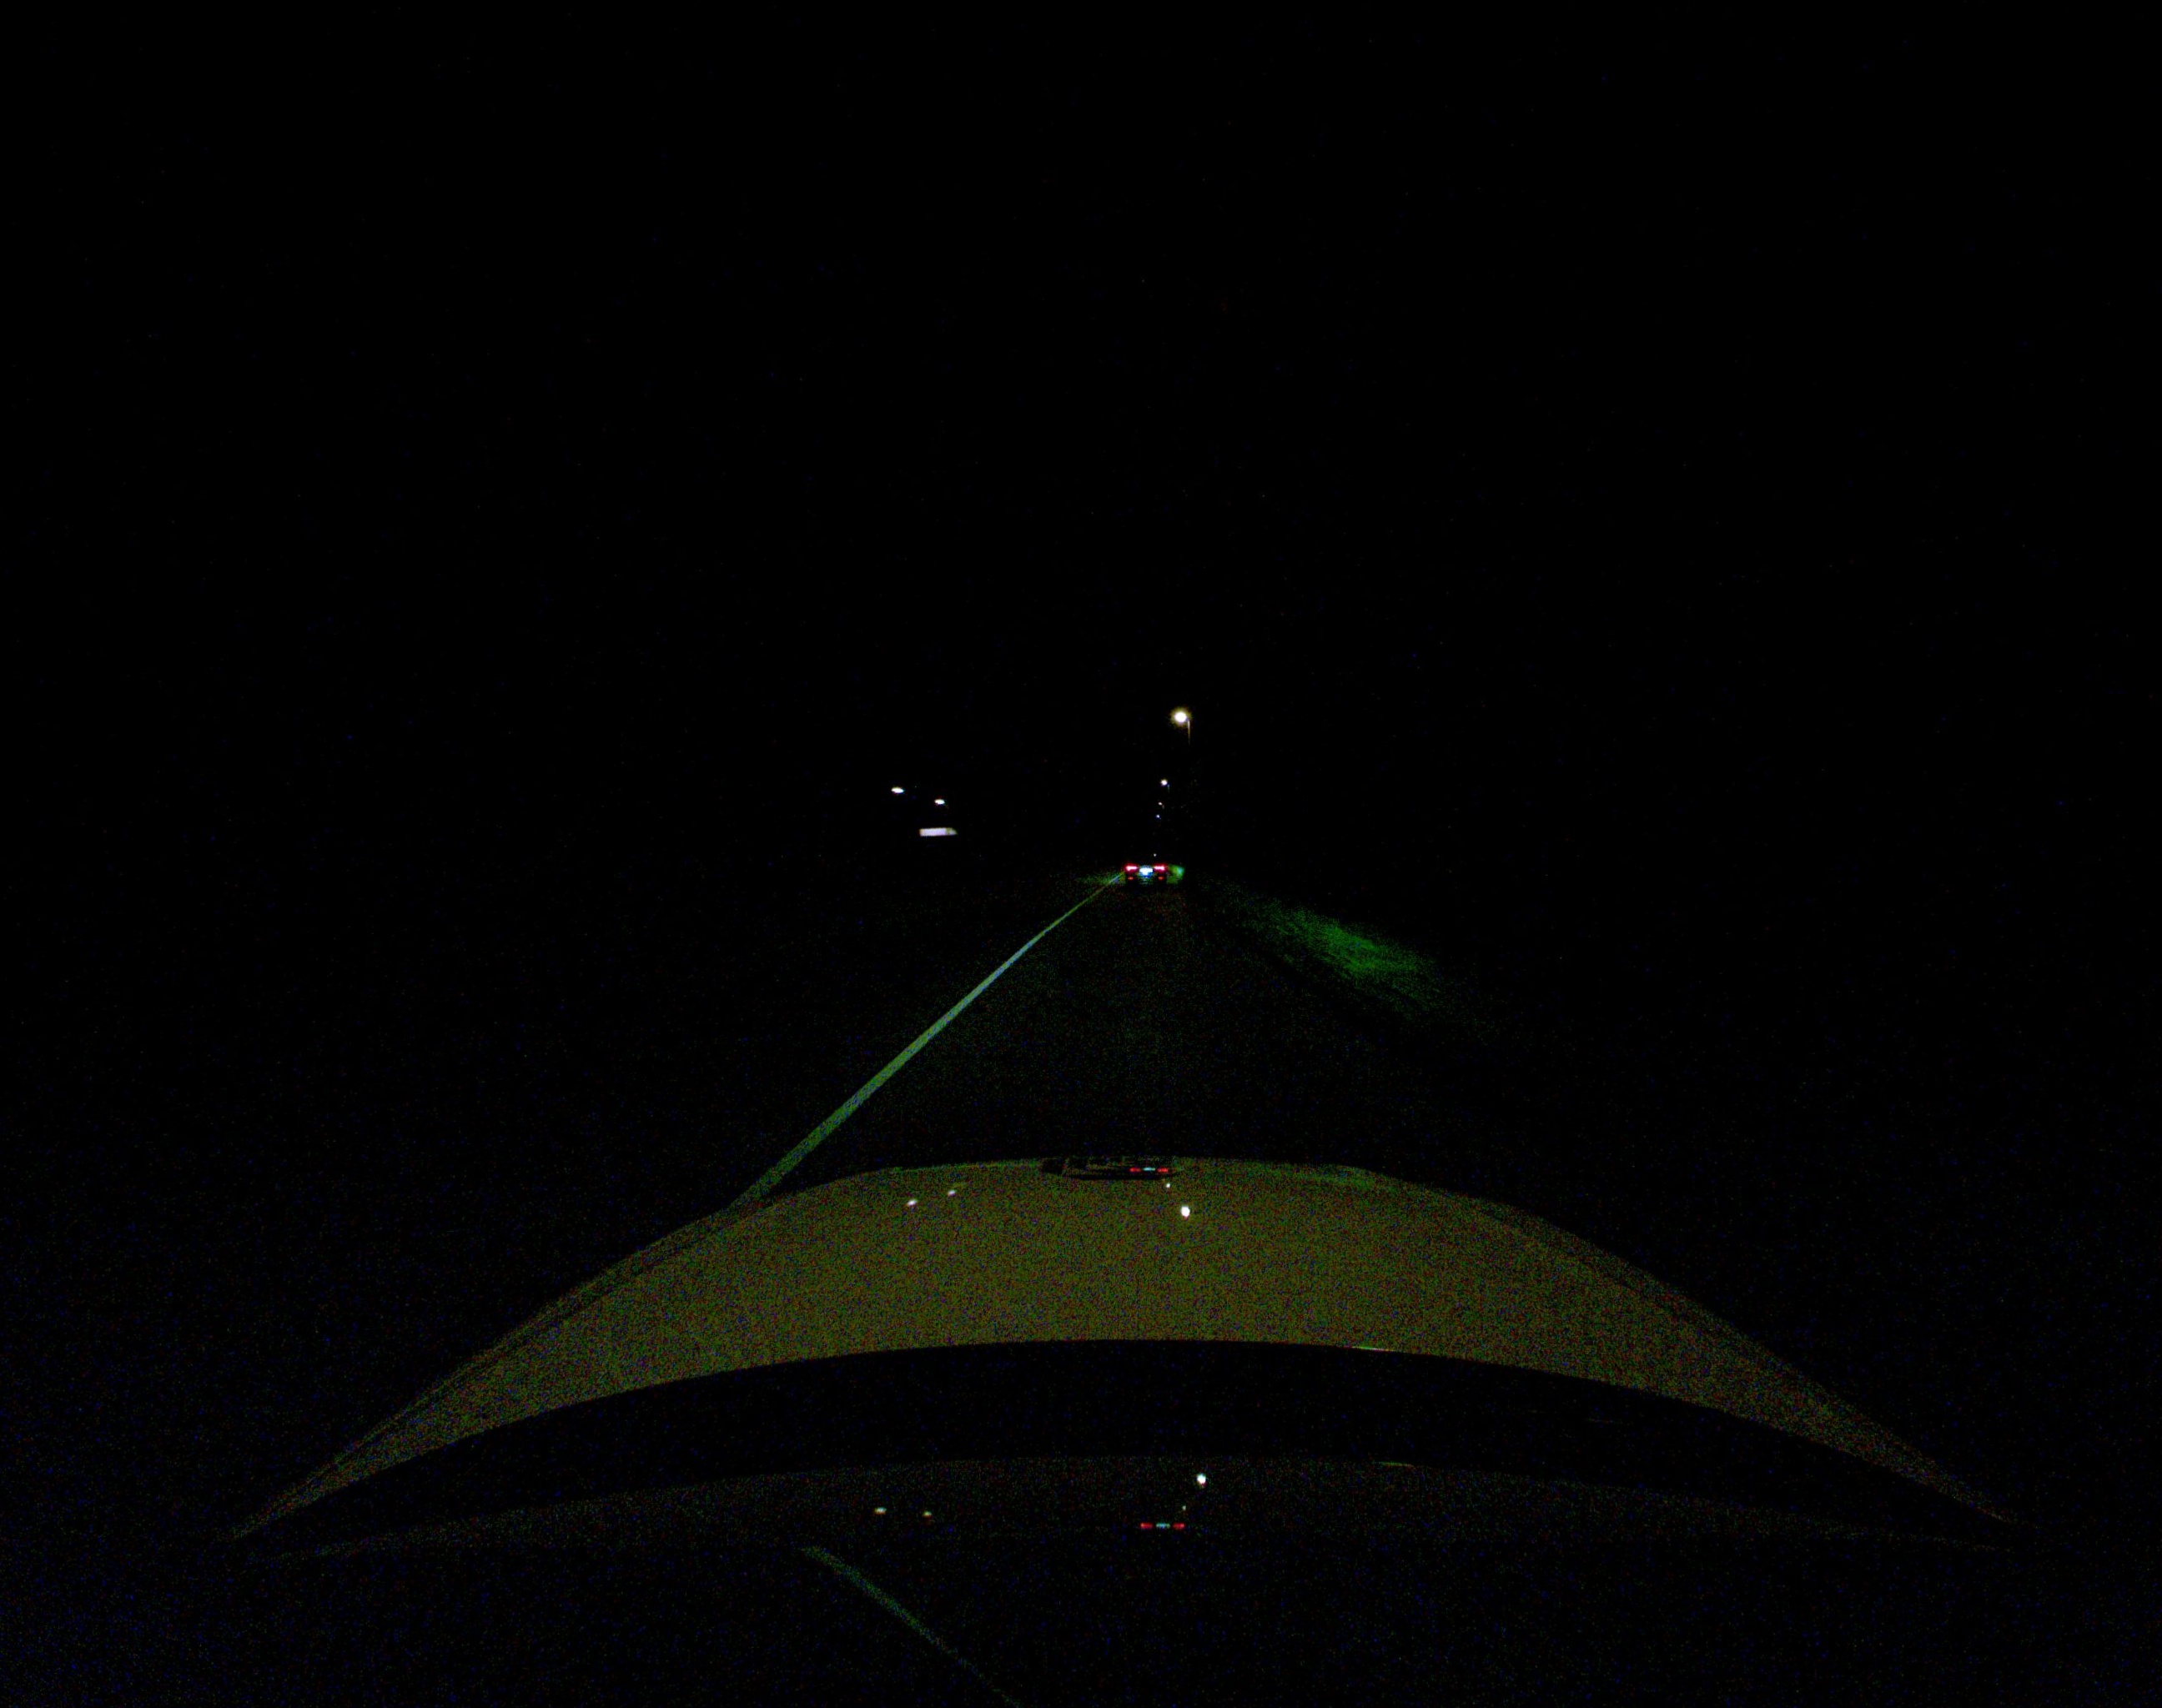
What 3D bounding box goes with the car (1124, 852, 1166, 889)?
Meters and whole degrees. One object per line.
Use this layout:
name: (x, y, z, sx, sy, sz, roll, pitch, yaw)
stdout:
car: (2.885, 0.729, 36.900, 1.806, 1.573, 3.948, 0, 0, 4)
